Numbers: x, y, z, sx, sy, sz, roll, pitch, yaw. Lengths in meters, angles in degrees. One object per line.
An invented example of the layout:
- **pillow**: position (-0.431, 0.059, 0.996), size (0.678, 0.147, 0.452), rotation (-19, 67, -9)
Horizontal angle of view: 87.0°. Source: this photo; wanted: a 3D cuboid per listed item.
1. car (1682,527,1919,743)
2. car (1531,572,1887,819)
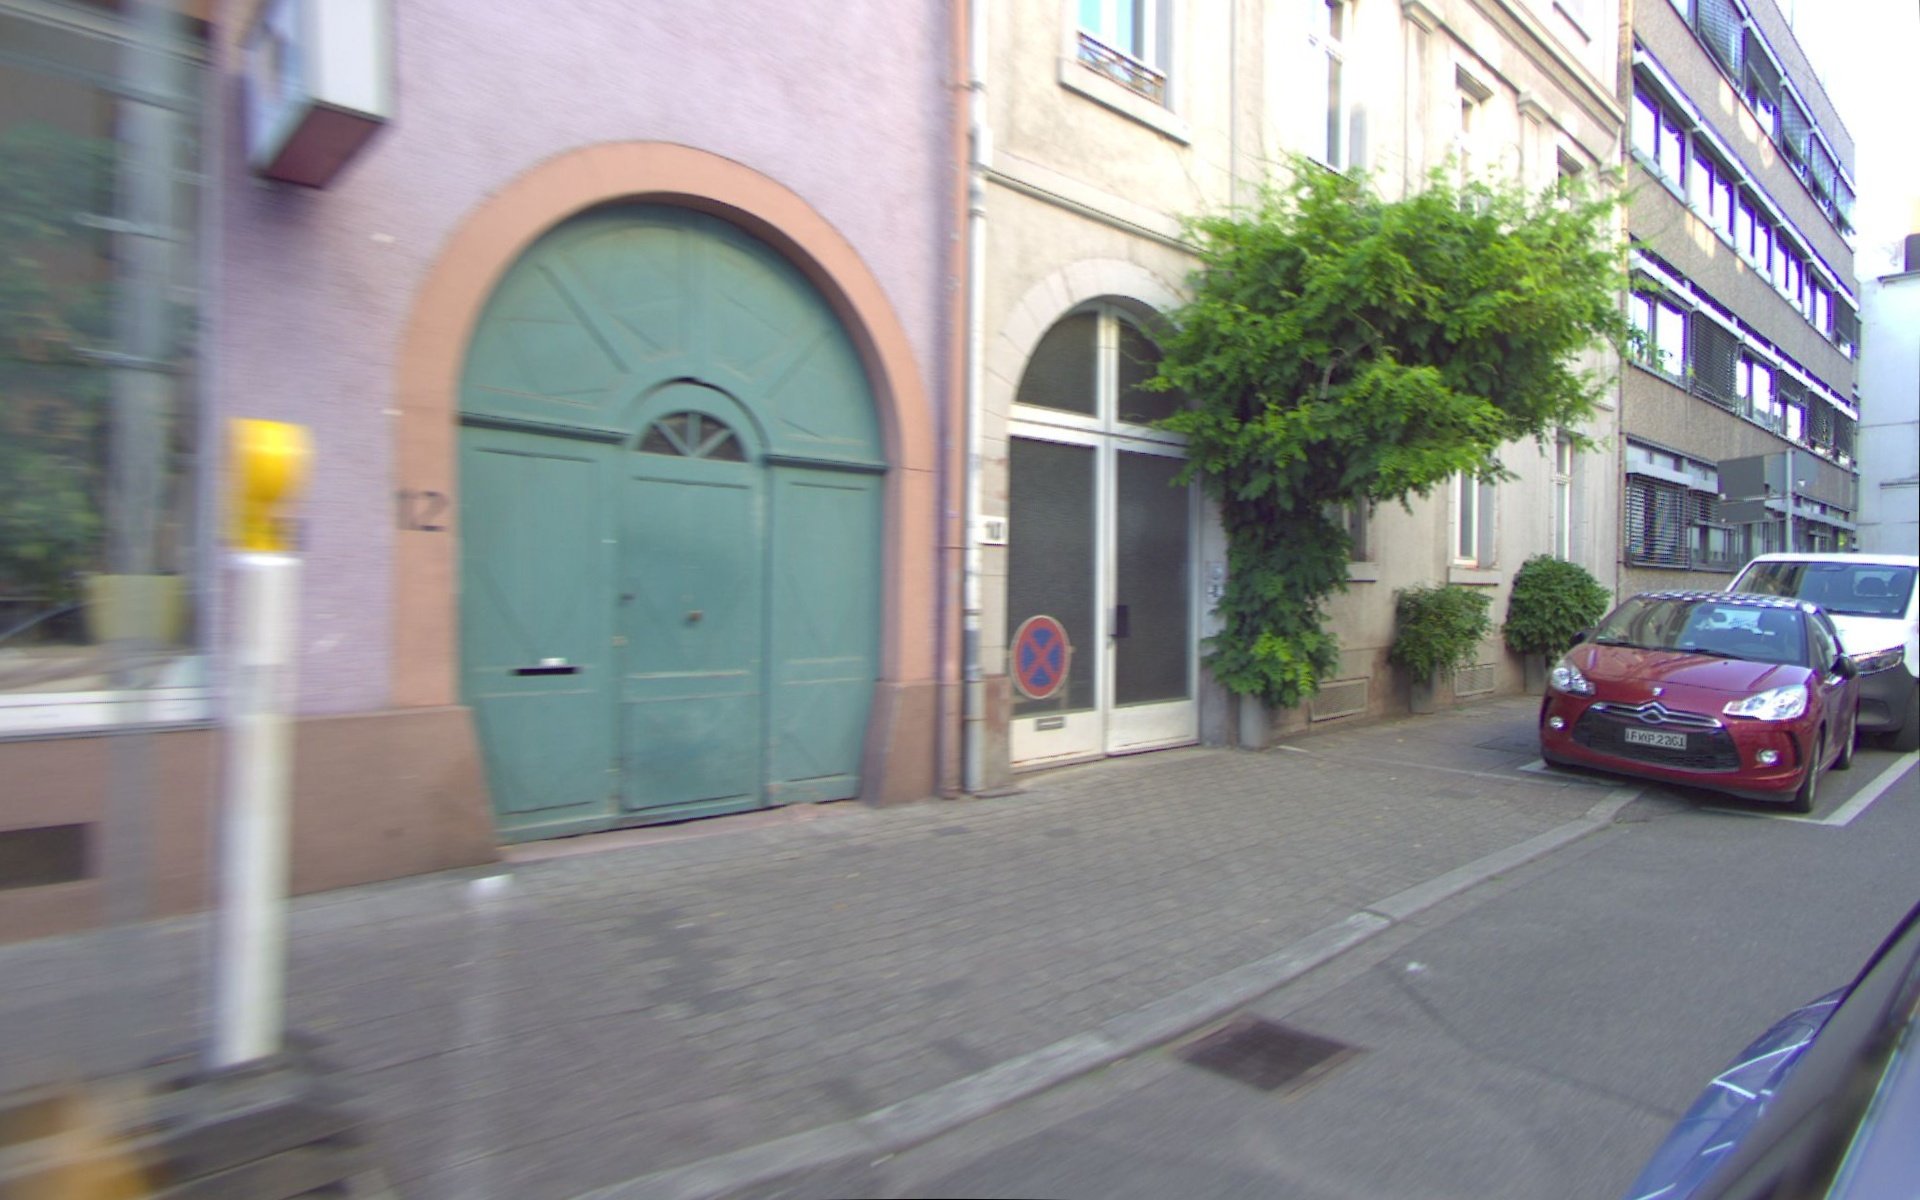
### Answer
- **car**: position (10.100, 0.279, 11.223), size (5.179, 1.921, 1.942), rotation (0, 1, -37)
- **car**: position (6.148, 0.565, 8.150), size (3.690, 1.524, 1.657), rotation (0, 1, -43)
